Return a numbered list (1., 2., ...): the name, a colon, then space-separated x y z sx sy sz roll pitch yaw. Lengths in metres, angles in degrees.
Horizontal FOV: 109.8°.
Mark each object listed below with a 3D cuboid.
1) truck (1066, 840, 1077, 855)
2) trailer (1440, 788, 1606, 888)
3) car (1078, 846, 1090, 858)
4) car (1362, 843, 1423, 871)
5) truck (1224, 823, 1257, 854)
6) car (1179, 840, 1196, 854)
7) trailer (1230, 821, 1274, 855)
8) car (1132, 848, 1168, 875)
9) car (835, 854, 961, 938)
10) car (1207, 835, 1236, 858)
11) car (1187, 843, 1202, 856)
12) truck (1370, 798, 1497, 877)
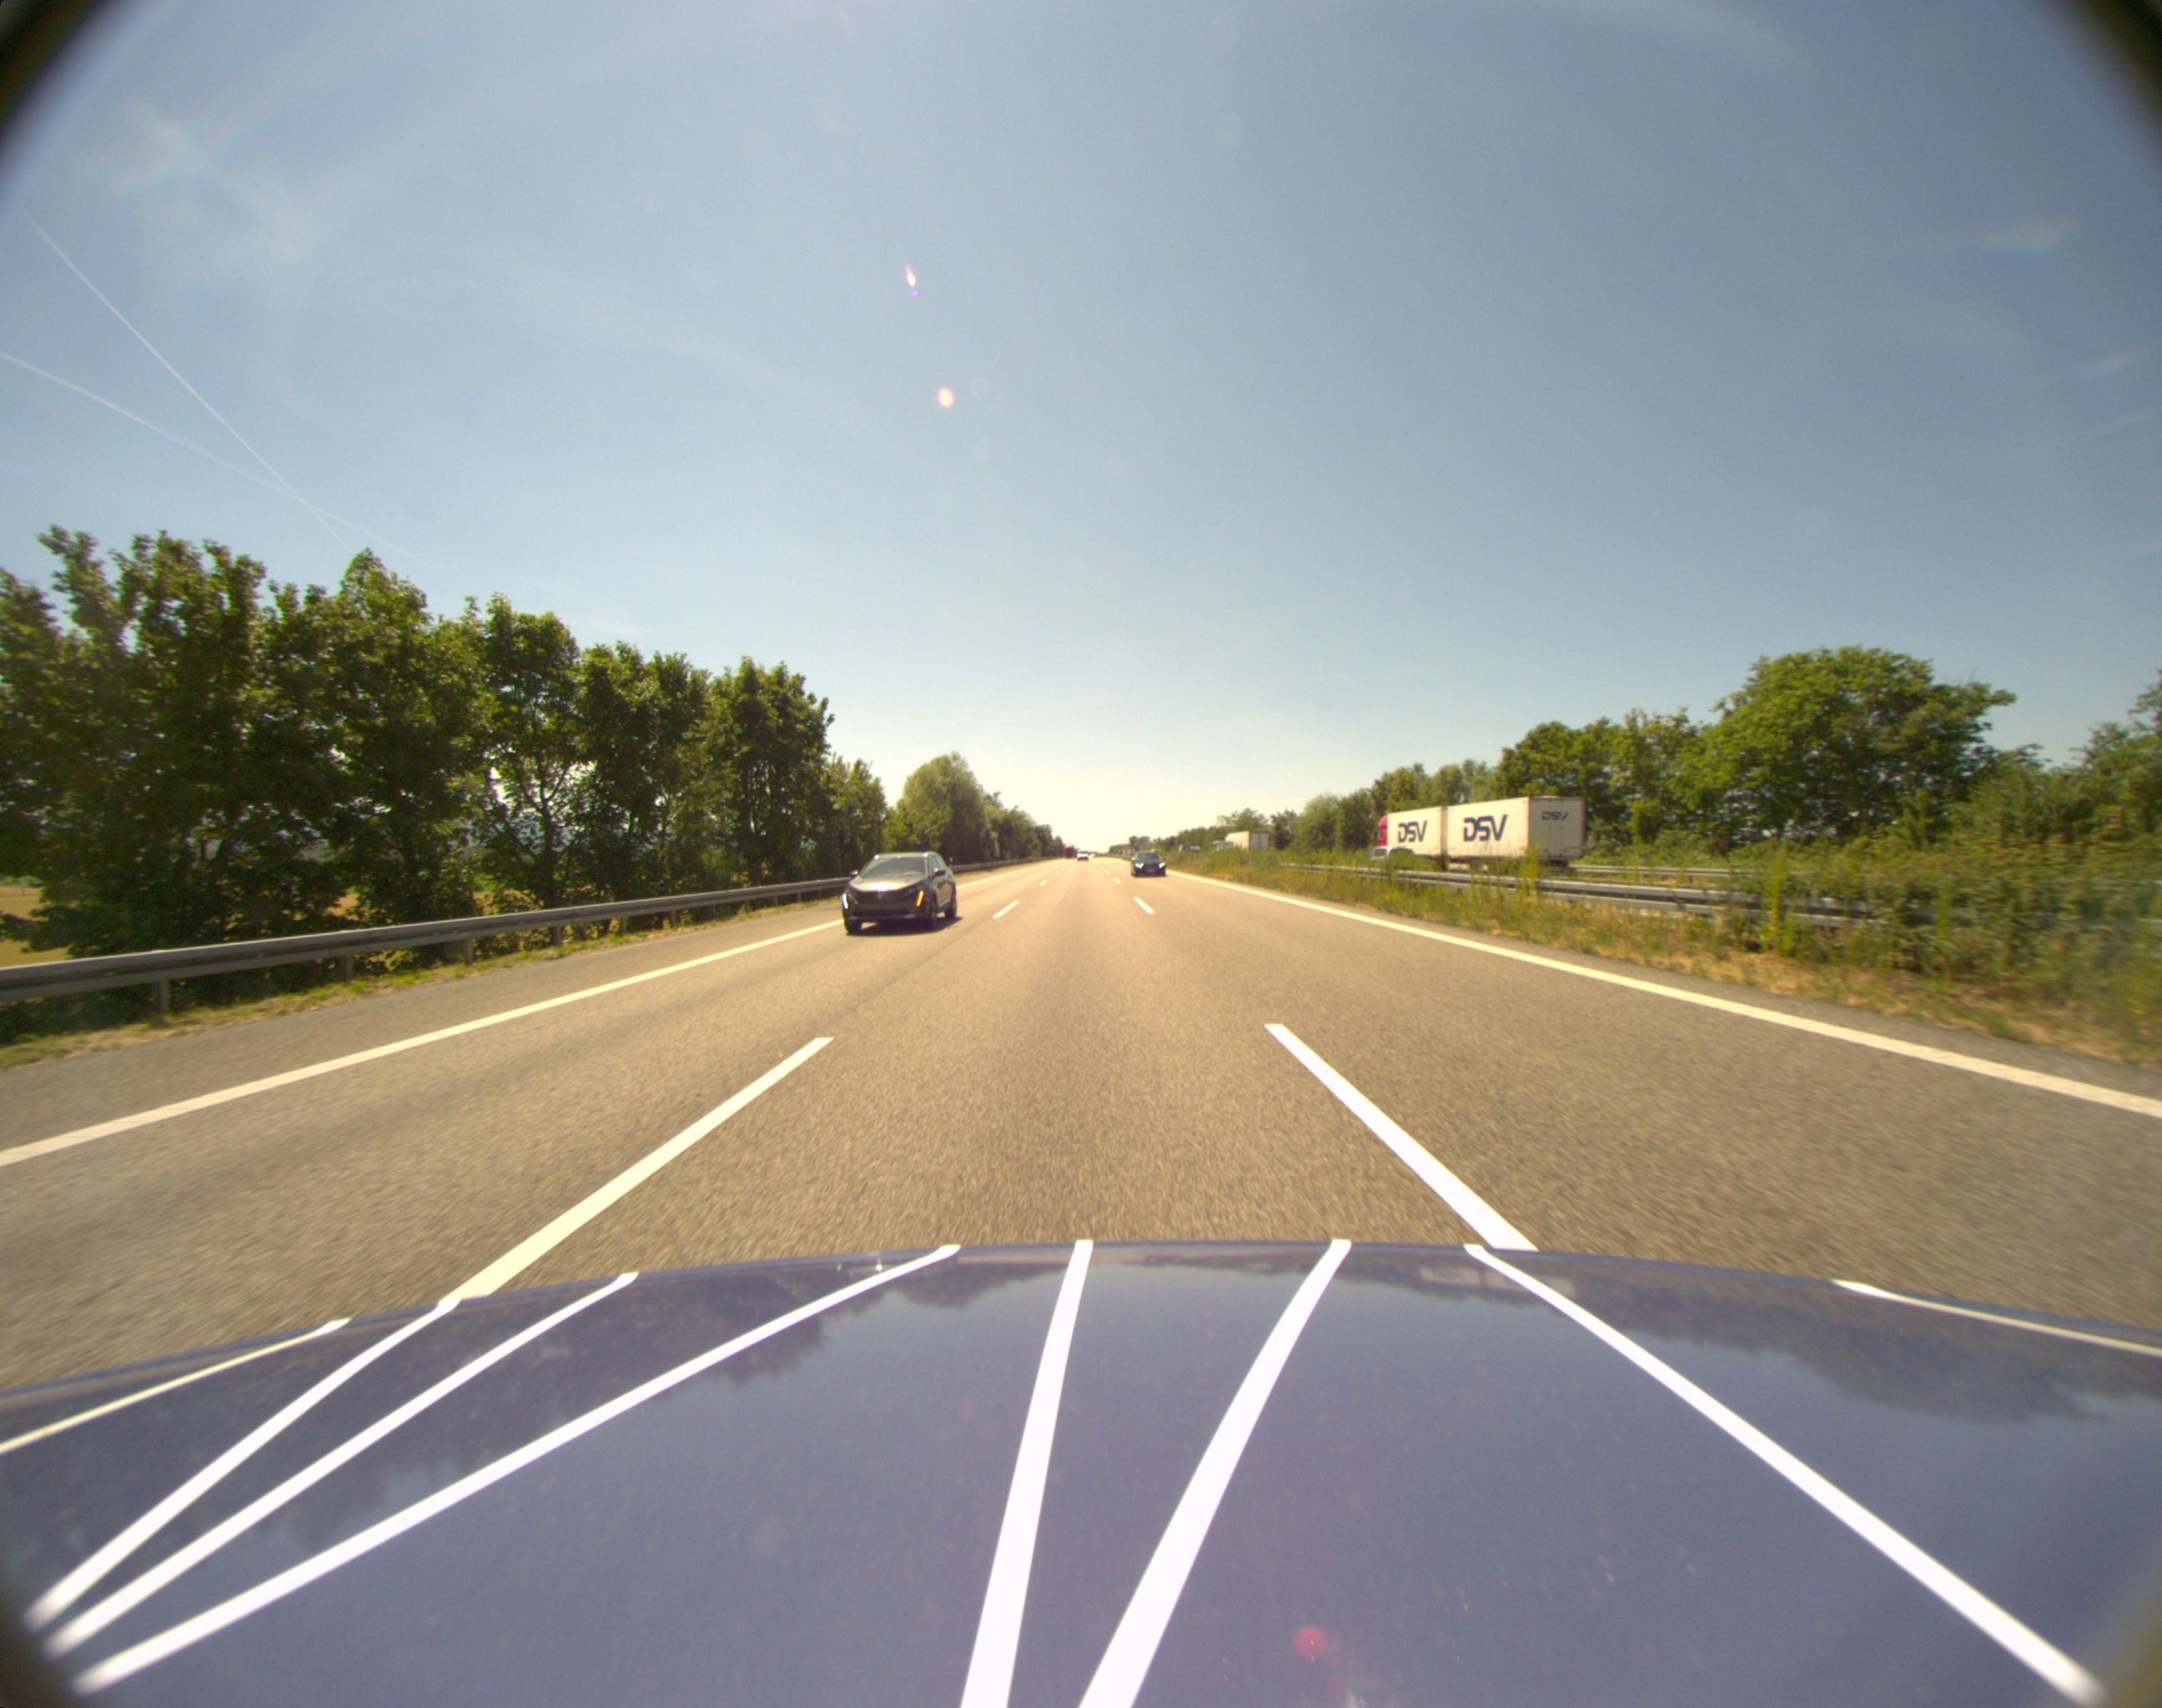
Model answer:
1. truck: -2.643 -1.741 216.580 2.938 3.933 10.261 -2 0 1
2. trailer: 21.650 -0.661 38.053 3.055 4.300 9.032 -2 0 1
3. car: 0.555 -0.358 131.334 1.998 2.001 4.756 -2 0 0
4. car: 17.255 0.175 42.337 1.610 1.433 4.043 -2 0 -1
5. truck: 22.264 -2.076 106.474 3.079 4.087 6.525 -2 0 0
6. car: 18.774 -1.217 133.938 2.215 2.349 5.297 0 0 -1
7. trailer: 22.224 -1.927 99.482 3.055 4.015 12.235 -2 0 1
8. car: 3.964 0.454 44.035 1.736 1.433 4.000 -2 0 1
9. car: -3.917 0.831 16.996 1.850 1.619 4.134 -1 0 -1
10. car: 18.061 -0.968 98.109 2.334 2.806 6.606 0 0 -1
11. car: 22.024 -0.930 147.589 2.108 2.449 6.015 0 0 0
12. truck: 21.770 -0.861 47.905 3.079 4.285 10.628 -2 0 1
